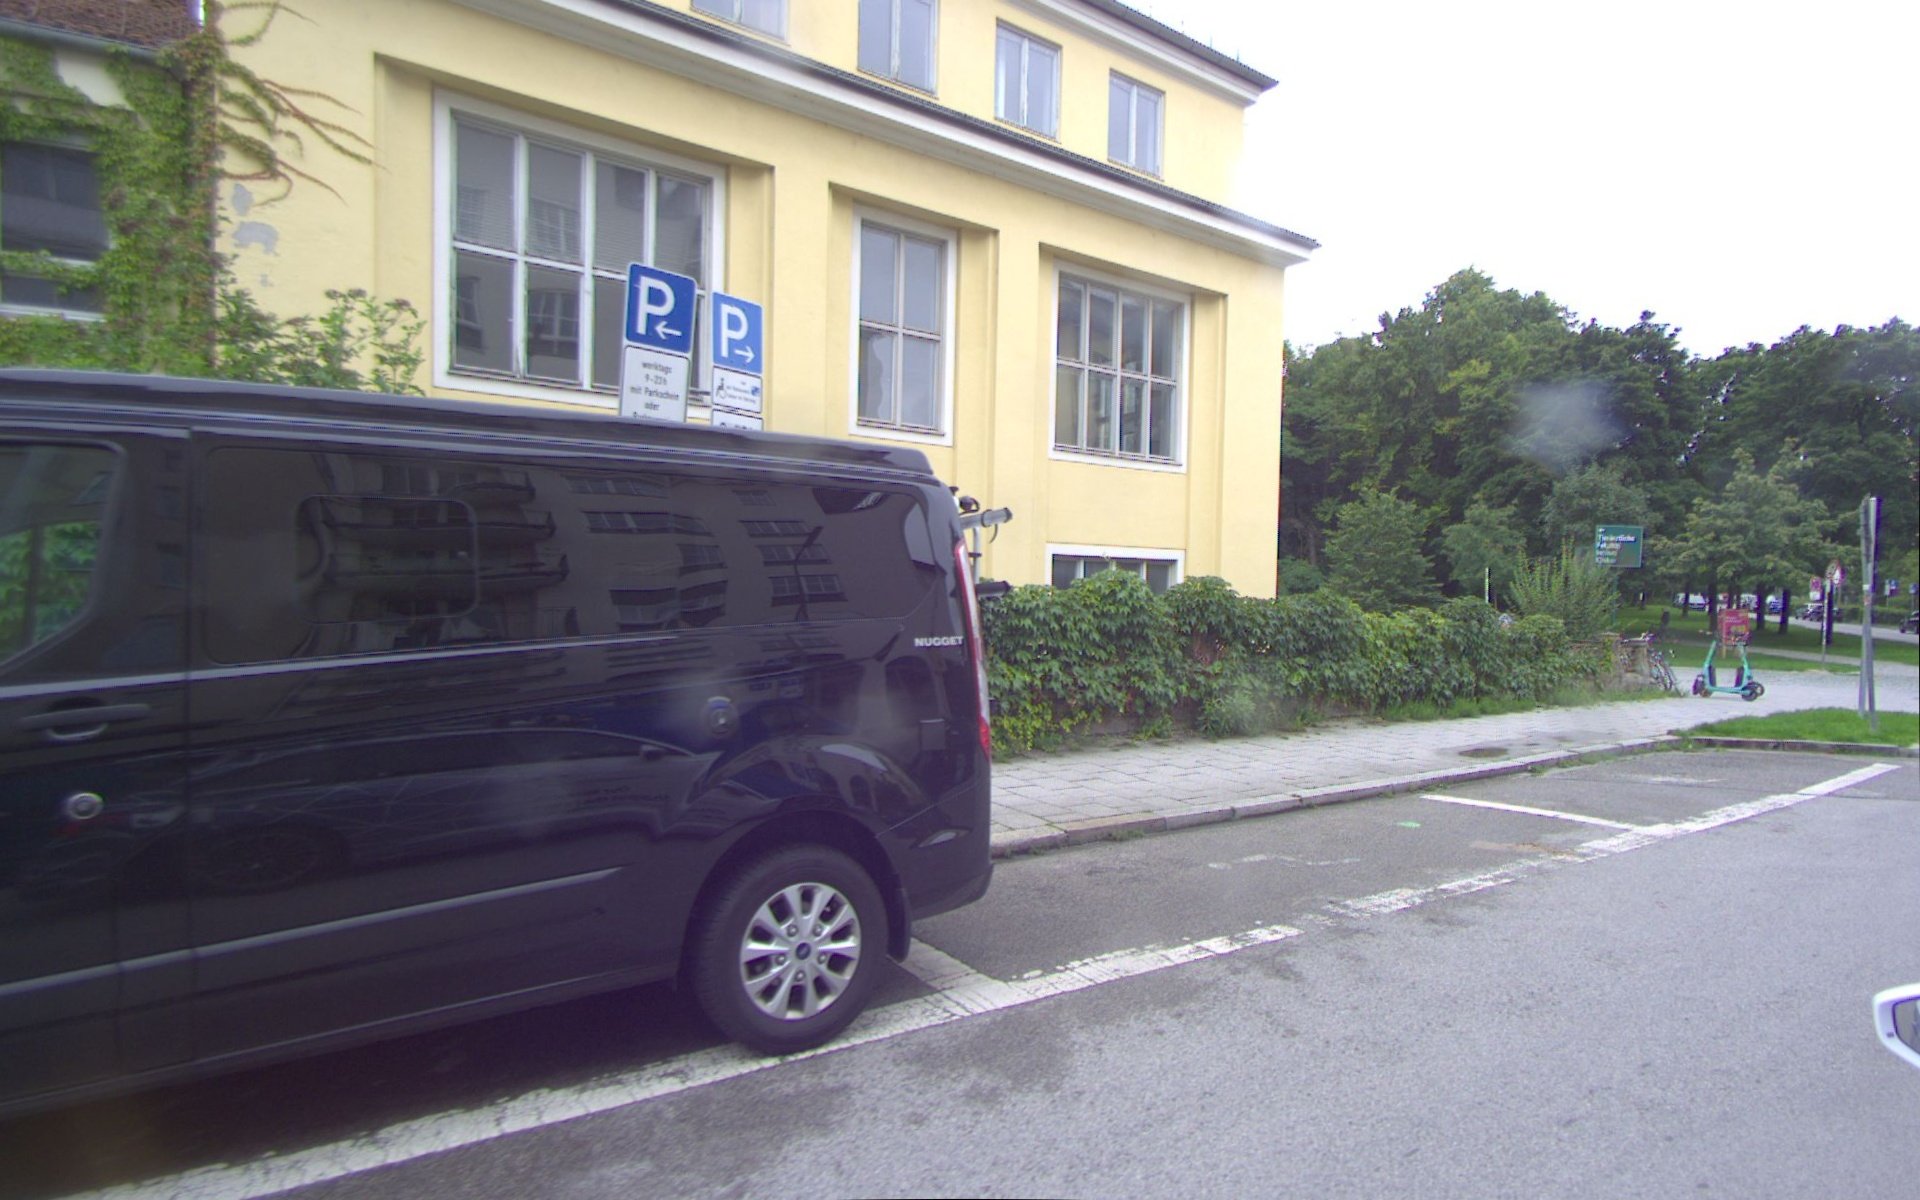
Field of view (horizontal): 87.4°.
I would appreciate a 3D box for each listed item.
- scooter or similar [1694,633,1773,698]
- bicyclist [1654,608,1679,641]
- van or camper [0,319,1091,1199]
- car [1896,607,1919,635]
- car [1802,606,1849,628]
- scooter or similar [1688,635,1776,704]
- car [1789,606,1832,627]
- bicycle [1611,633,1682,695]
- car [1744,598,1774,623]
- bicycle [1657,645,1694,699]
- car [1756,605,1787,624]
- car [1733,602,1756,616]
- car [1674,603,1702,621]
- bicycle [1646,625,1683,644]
[{"bbox_3d":[14.981,1.256,19.458,1.158,1.236,0.447,0,-1,4],"label":"scooter or similar"},{"bbox_3d":[31.899,1.099,45.364,0.636,1.480,0.626,1,1,-22],"label":"bicyclist"},{"bbox_3d":[-1.980,0.466,3.429,4.702,2.093,1.950,1,-2,-33],"label":"van or camper"},{"bbox_3d":[60.243,1.320,62.722,1.837,1.655,4.271,2,1,33],"label":"car"},{"bbox_3d":[72.992,1.403,84.812,2.144,1.679,4.497,2,1,30],"label":"car"},{"bbox_3d":[14.457,1.278,18.839,0.595,1.236,1.172,1,-1,-30],"label":"scooter or similar"},{"bbox_3d":[76.133,1.449,90.012,2.144,1.679,4.497,2,1,30],"label":"car"},{"bbox_3d":[14.281,1.308,20.932,0.641,1.149,1.502,1,1,10],"label":"bicycle"},{"bbox_3d":[88.160,1.153,110.847,1.848,2.602,4.921,2,1,31],"label":"car"},{"bbox_3d":[13.660,1.358,19.194,0.463,0.935,1.202,2,1,31],"label":"bicycle"},{"bbox_3d":[83.077,1.456,102.824,1.848,1.840,3.991,2,1,31],"label":"car"},{"bbox_3d":[94.109,1.063,120.583,1.621,1.674,4.274,2,1,31],"label":"car"},{"bbox_3d":[77.412,1.230,106.832,1.965,1.862,3.991,2,1,31],"label":"car"},{"bbox_3d":[31.876,1.543,45.450,0.434,0.786,1.353,1,1,-22],"label":"bicycle"}]
